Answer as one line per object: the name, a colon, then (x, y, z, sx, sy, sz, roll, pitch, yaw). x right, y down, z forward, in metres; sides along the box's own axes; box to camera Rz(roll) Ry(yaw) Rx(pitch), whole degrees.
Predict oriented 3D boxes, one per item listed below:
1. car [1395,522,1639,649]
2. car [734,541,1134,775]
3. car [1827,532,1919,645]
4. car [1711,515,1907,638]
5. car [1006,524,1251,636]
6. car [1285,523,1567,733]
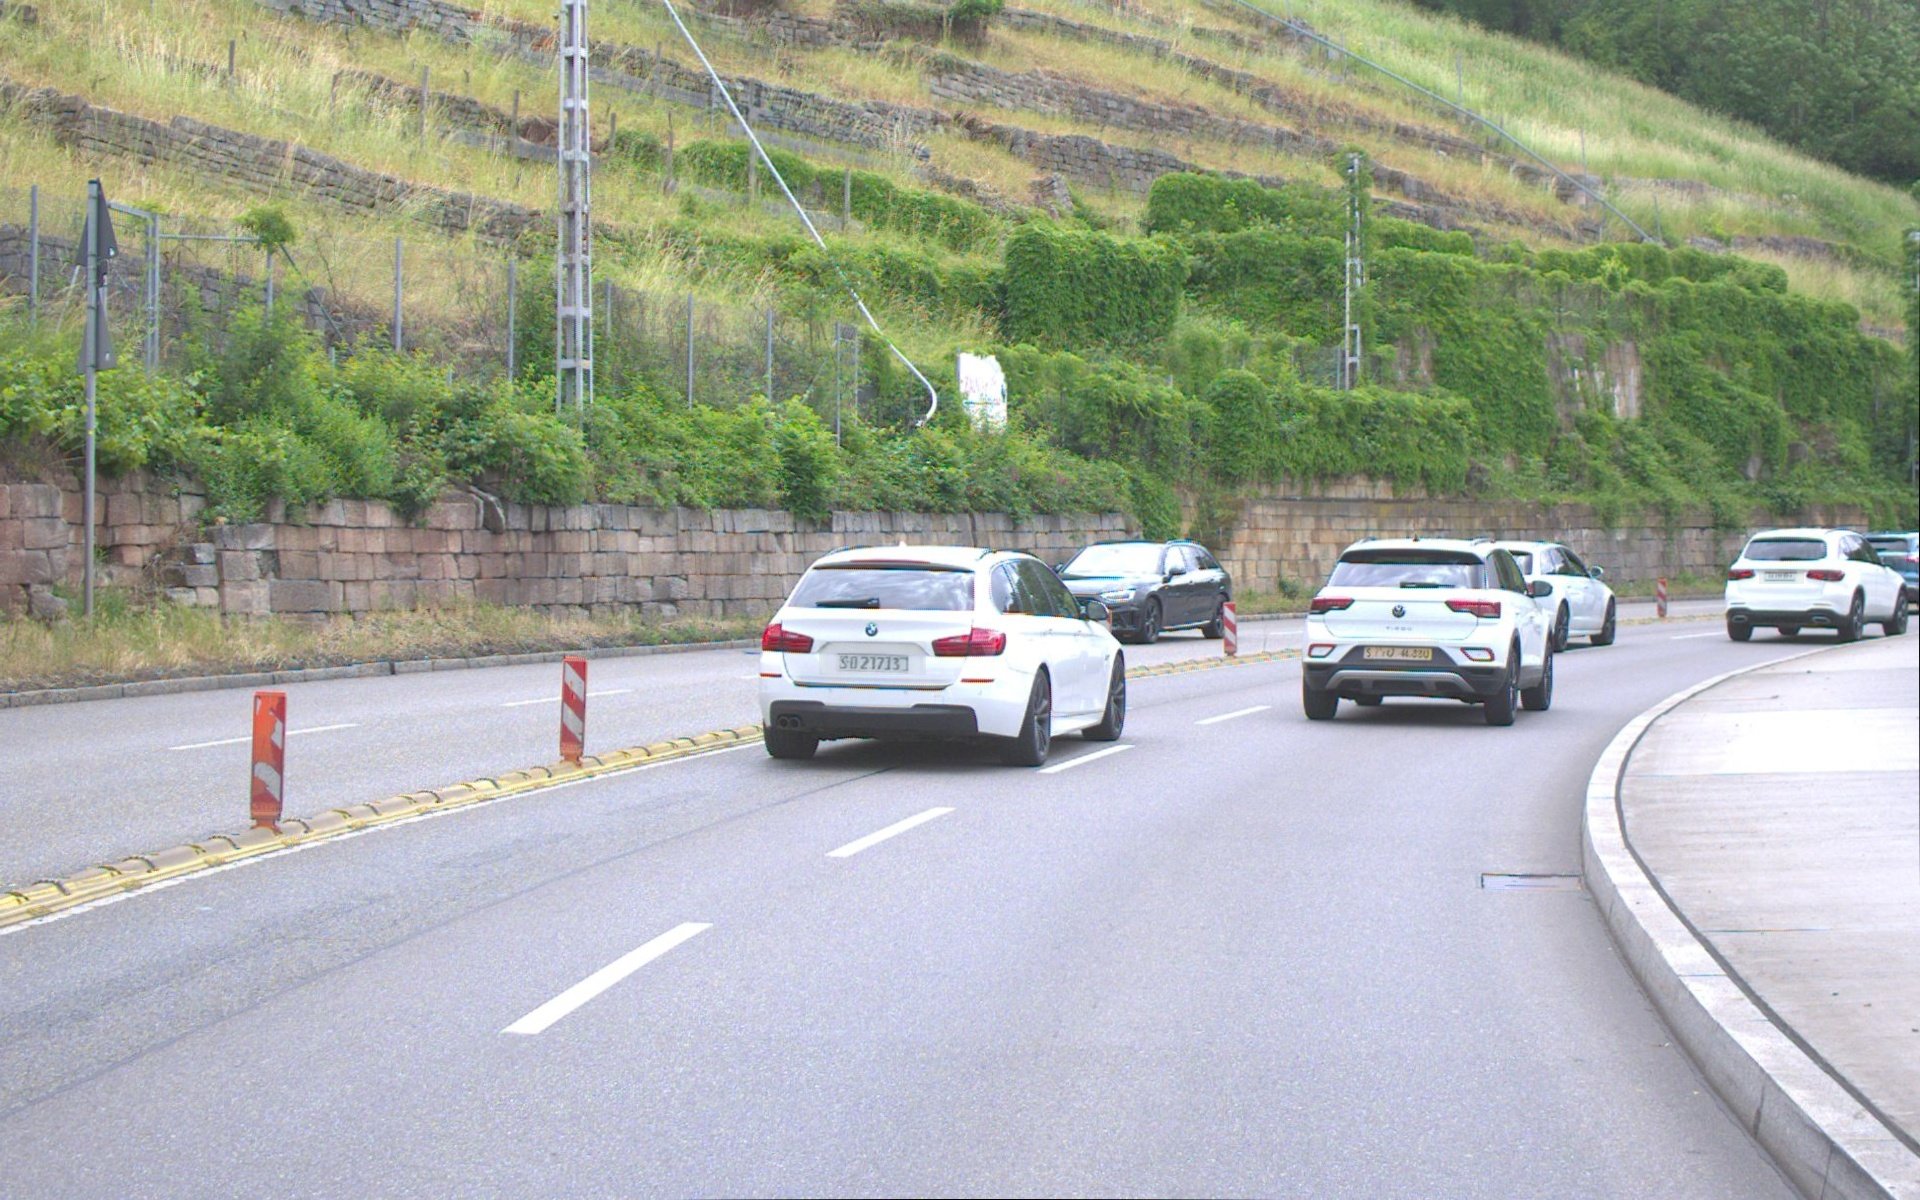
car: (7.614, -0.206, 46.635, 1.996, 1.498, 4.661, 5, 2, 25)
car: (-0.071, 0.331, 24.164, 1.829, 1.454, 4.483, 1, 1, 13)
car: (17.759, -0.221, 64.951, 1.996, 2.007, 3.995, -3, -1, 23)
car: (12.534, -0.316, 50.576, 1.996, 1.712, 4.108, -1, -1, 26)
car: (2.420, -0.316, 48.316, 1.853, 1.408, 4.410, 2, 3, 26)
car: (4.148, 0.179, 30.087, 1.829, 1.600, 3.997, 3, 2, 16)
